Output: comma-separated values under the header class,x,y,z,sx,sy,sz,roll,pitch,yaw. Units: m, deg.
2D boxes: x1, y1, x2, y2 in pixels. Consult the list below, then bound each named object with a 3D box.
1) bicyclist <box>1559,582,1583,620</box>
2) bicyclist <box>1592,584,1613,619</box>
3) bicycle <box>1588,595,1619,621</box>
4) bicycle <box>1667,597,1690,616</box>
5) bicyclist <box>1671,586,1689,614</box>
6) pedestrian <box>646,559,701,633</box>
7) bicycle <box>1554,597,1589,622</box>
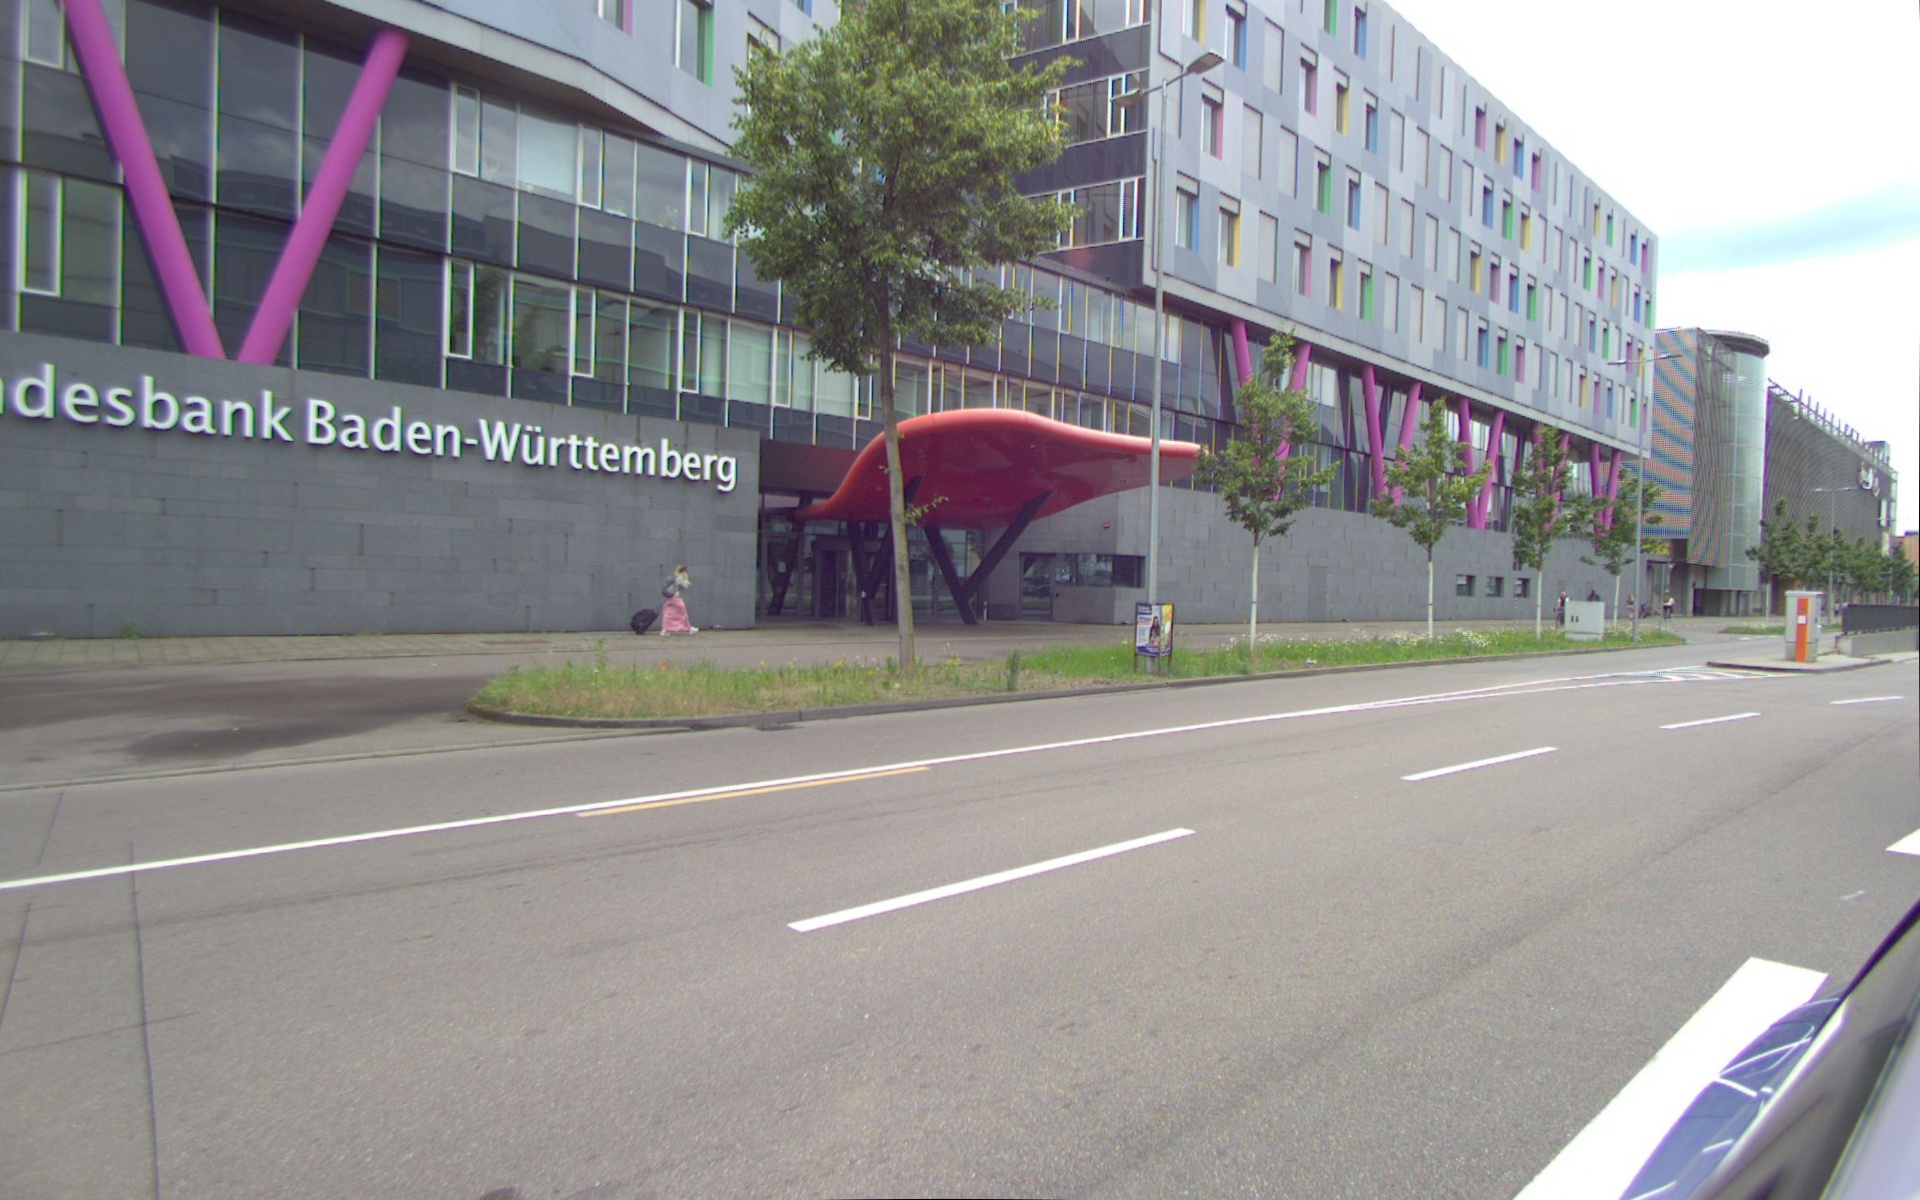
class,x,y,z,sx,sy,sz,roll,pitch,yaw
bicyclist,29.554,0.036,48.969,0.692,1.825,0.783,2,-1,-41
bicyclist,34.671,0.063,54.600,0.692,1.826,0.783,6,-3,-41
bicycle,34.780,0.438,54.699,2.303,1.173,0.800,6,-3,-42
bicycle,47.192,0.403,66.470,2.182,1.209,0.784,1,1,-42
bicyclist,47.363,-0.030,66.575,0.957,1.809,0.772,1,1,-41
pedestrian,-6.356,-0.092,22.426,0.898,1.602,0.786,1,1,-40
bicycle,29.665,0.470,49.068,2.304,1.173,0.800,2,0,-42
